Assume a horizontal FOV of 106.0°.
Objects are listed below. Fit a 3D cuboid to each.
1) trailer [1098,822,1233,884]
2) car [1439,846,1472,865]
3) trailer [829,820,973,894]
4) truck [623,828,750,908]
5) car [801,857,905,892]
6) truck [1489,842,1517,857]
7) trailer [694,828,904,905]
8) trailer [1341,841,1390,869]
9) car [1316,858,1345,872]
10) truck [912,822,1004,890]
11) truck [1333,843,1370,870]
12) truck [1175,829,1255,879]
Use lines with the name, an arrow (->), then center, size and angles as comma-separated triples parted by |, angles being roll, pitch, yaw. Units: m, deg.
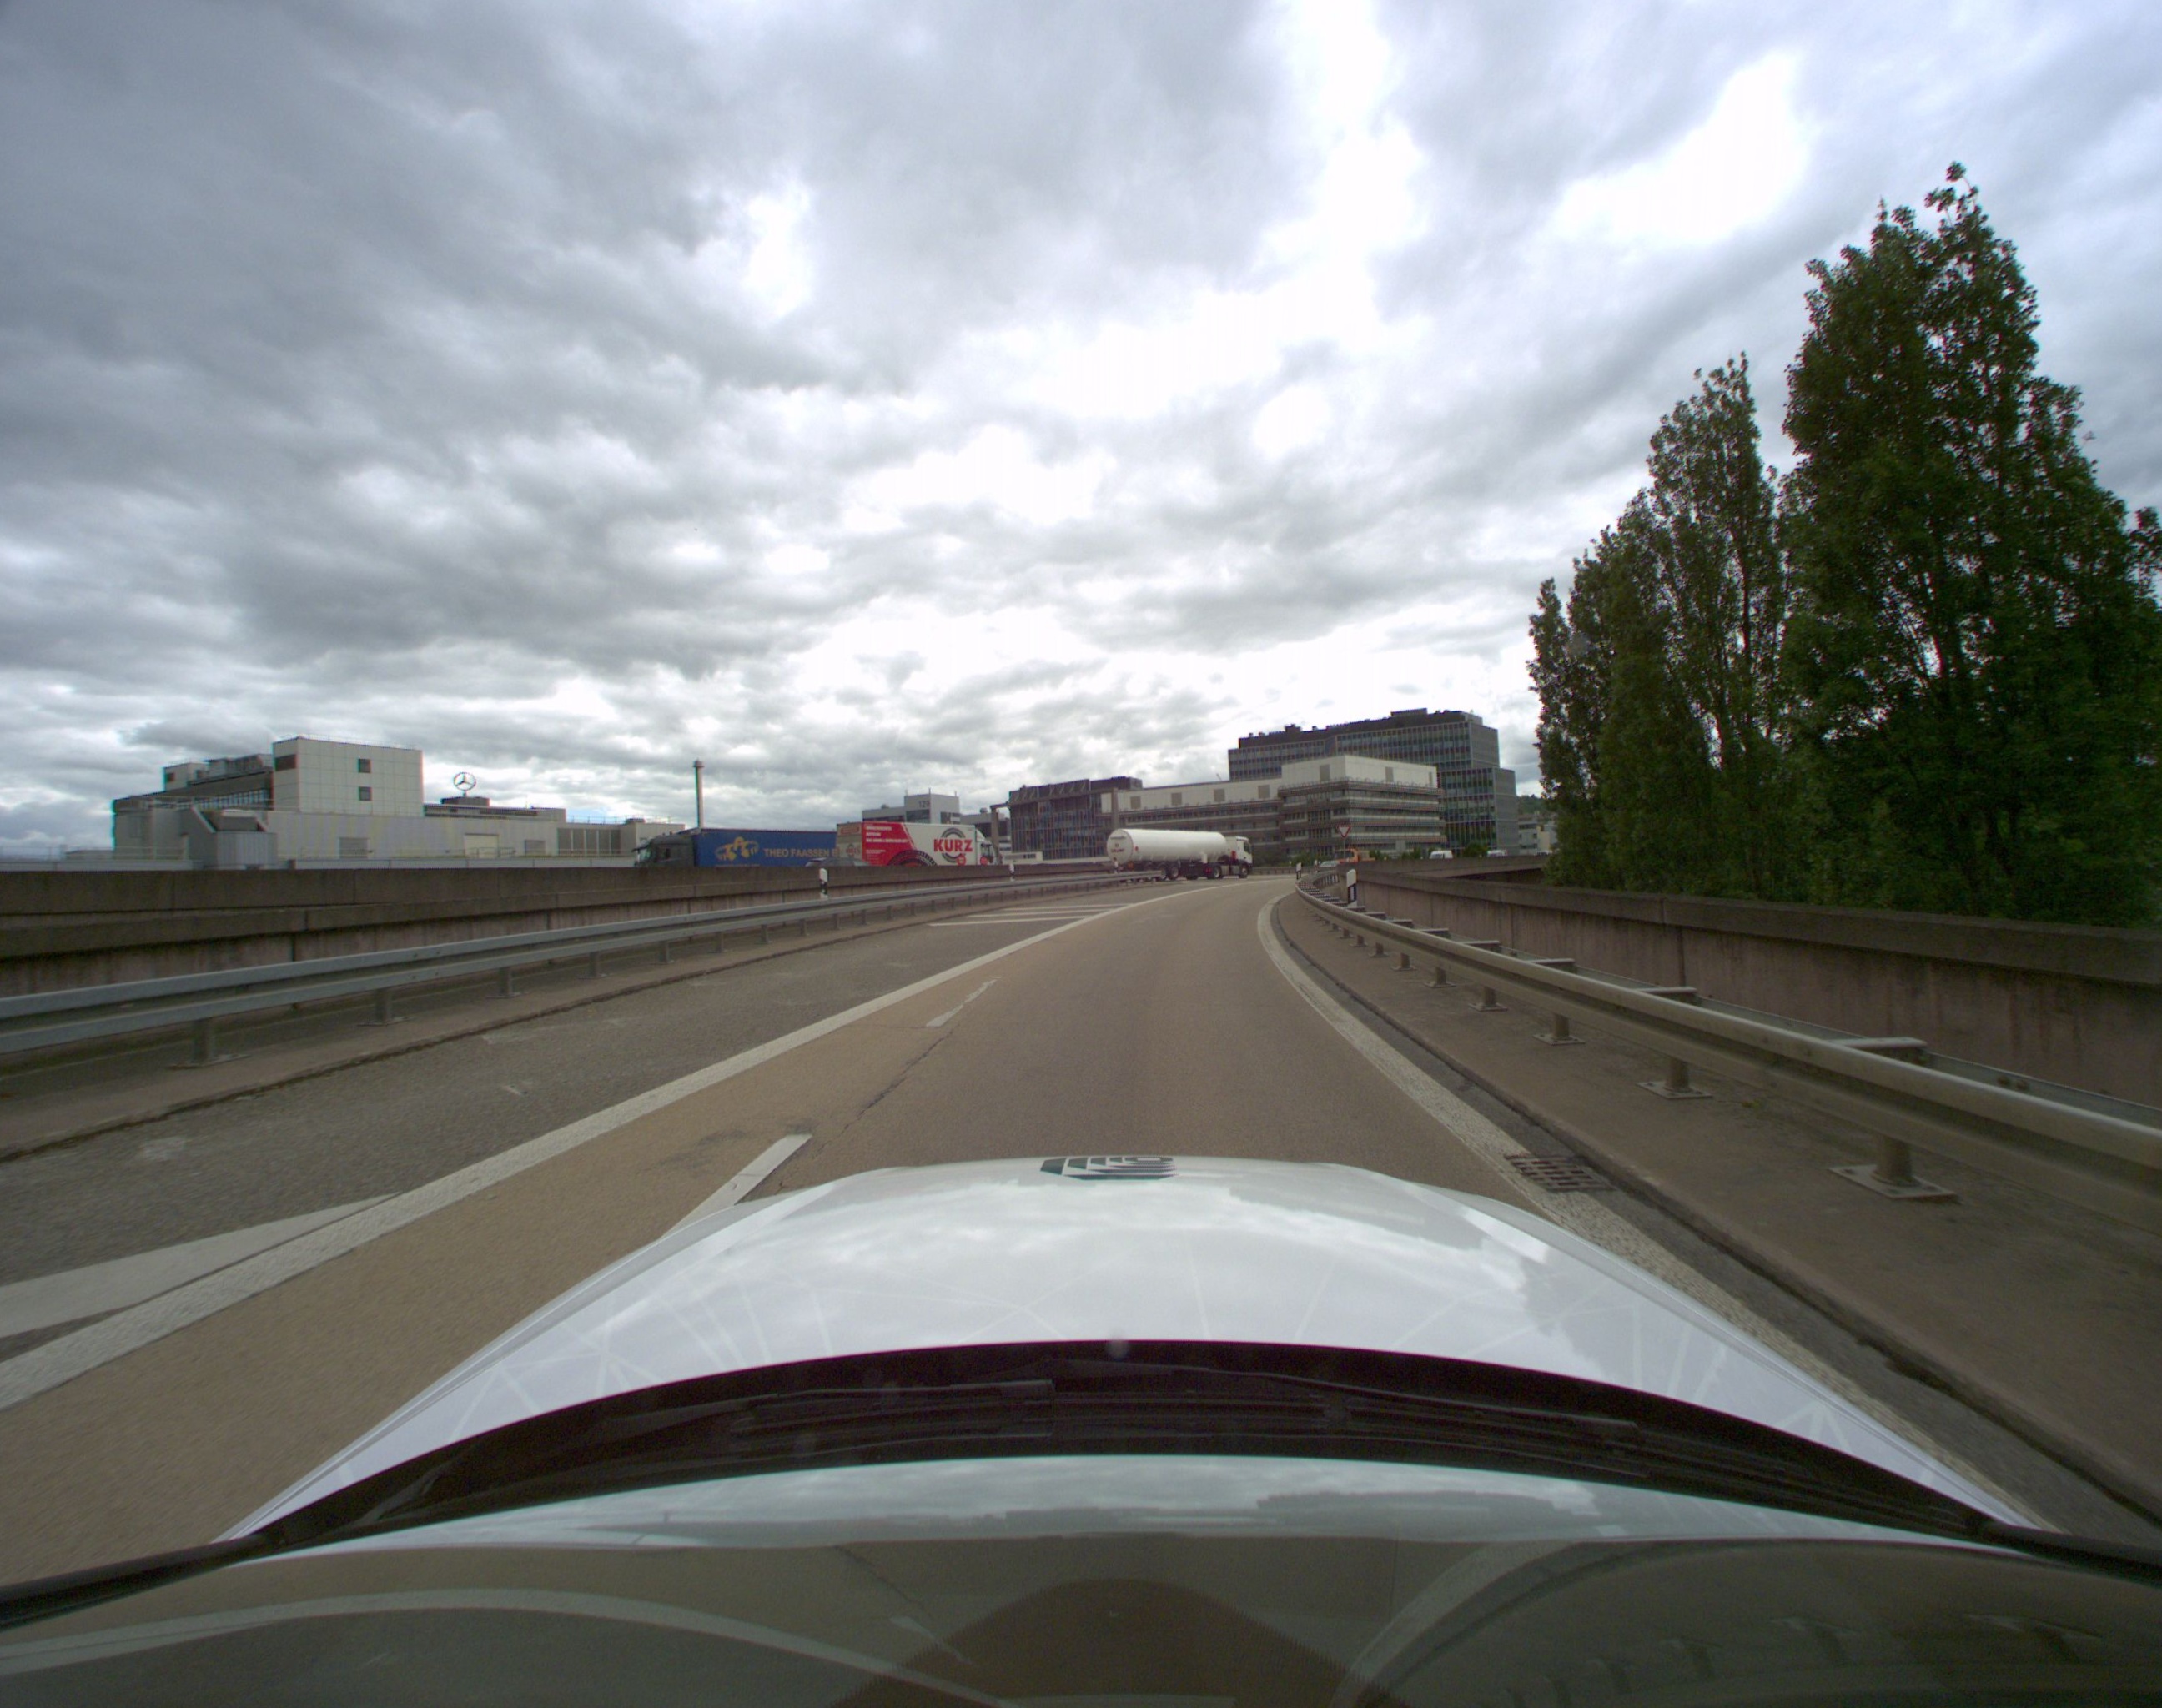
trailer -> 5.959, -0.114, 55.112 | 2.765, 3.738, 11.223 | -4, -2, 43
car -> 56.014, 0.225, 121.716 | 2.554, 2.644, 6.228 | -2, -1, 44
trailer -> -9.689, 0.153, 44.498 | 2.665, 3.690, 7.357 | -4, -2, 43
truck -> -22.674, 0.787, 46.951 | 3.132, 4.347, 5.728 | -4, -2, 44
car -> -10.500, 0.909, 37.696 | 1.829, 1.505, 4.291 | 0, 0, 43
truck -> 80.138, -0.949, 154.446 | 7.391, 2.627, 2.468 | -1, -2, -45
trailer -> -17.661, 0.694, 52.229 | 3.131, 4.347, 12.593 | -4, -2, 43
trailer -> 39.077, 0.120, 111.605 | 2.708, 3.637, 9.414 | -4, -2, 42
car -> 29.114, 1.283, 94.946 | 1.629, 1.518, 3.862 | -4, -2, 44
truck -> -7.090, 0.101, 47.333 | 2.665, 3.690, 4.466 | -4, -2, 43
truck -> 35.897, 0.297, 108.068 | 2.715, 3.480, 5.137 | -4, -2, 42
truck -> 9.781, -0.011, 59.252 | 2.743, 3.430, 6.001 | -4, -2, 43
